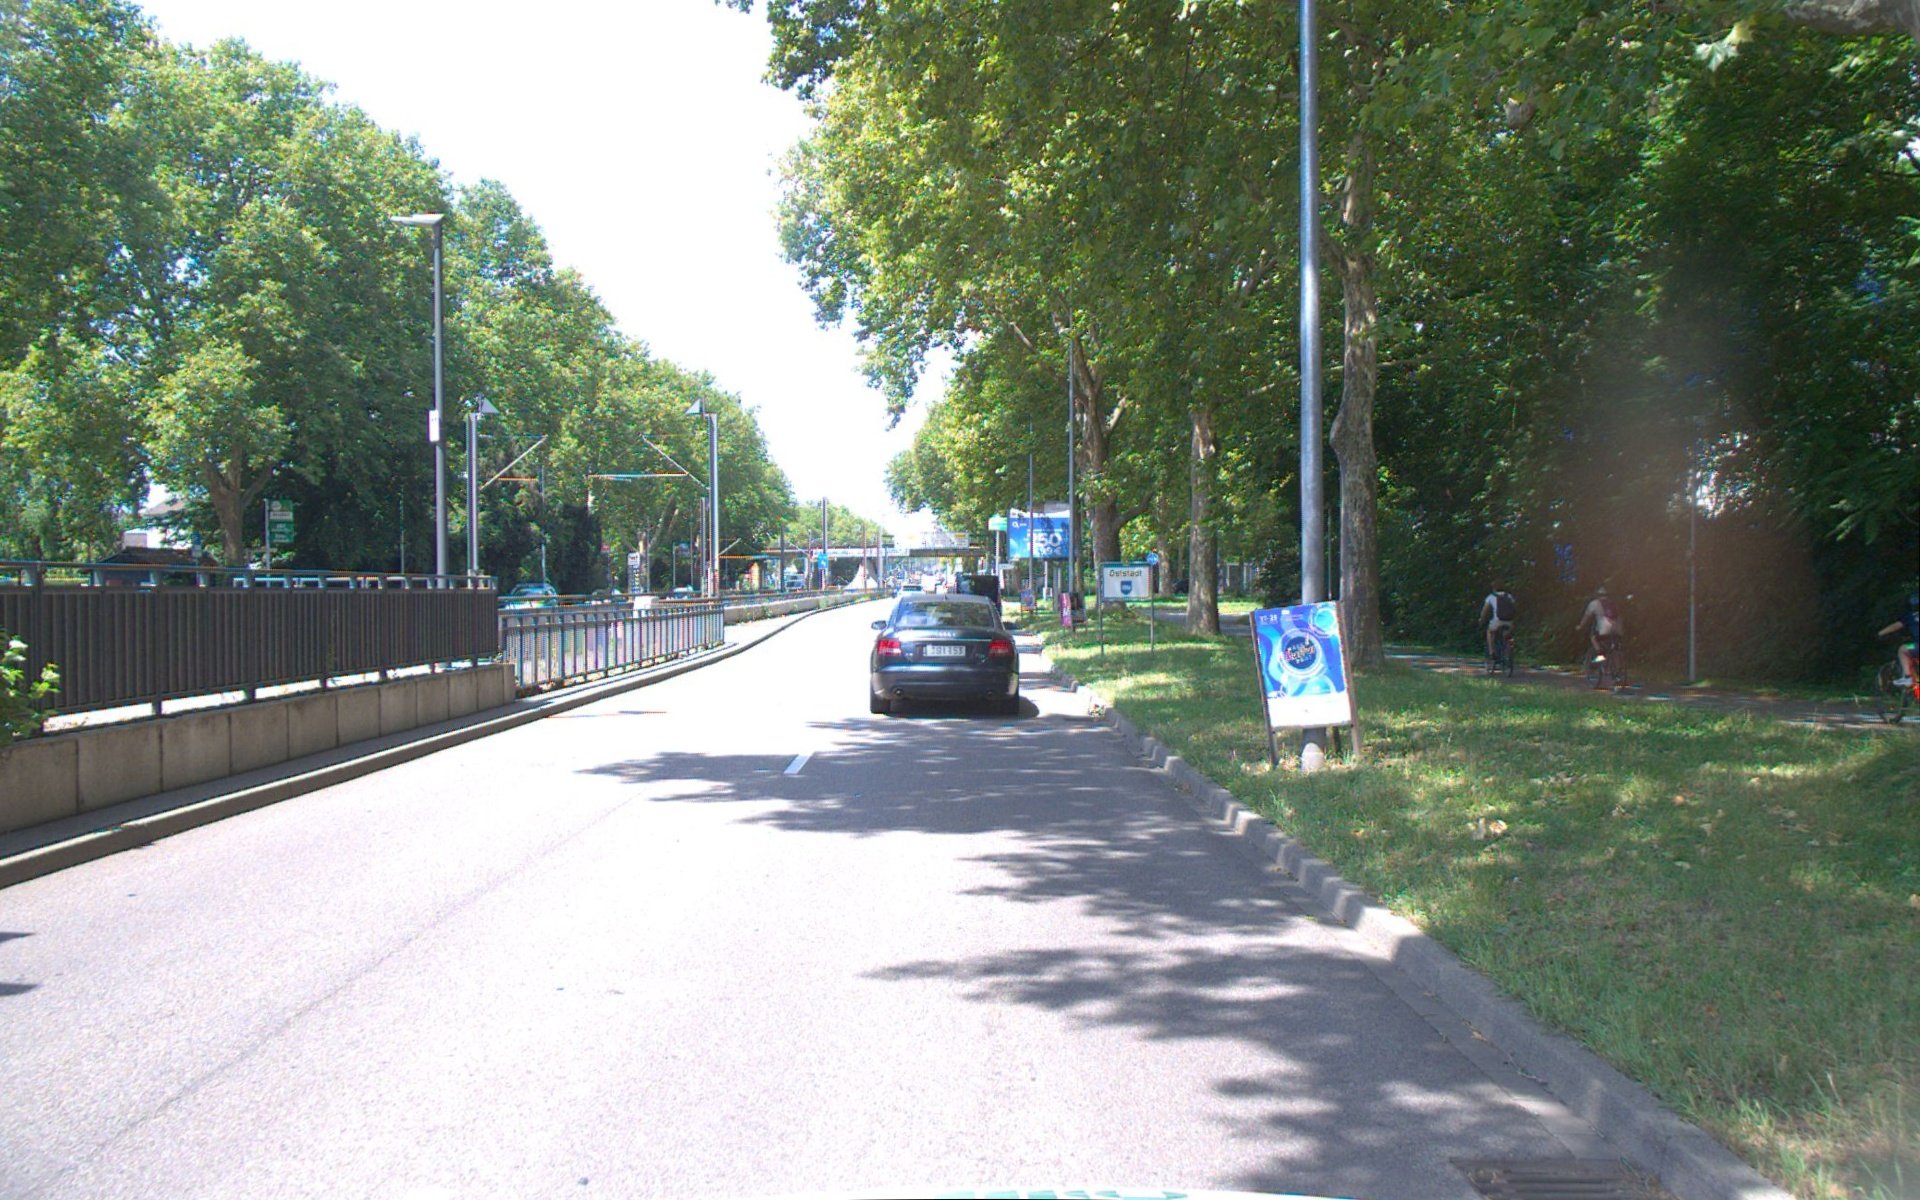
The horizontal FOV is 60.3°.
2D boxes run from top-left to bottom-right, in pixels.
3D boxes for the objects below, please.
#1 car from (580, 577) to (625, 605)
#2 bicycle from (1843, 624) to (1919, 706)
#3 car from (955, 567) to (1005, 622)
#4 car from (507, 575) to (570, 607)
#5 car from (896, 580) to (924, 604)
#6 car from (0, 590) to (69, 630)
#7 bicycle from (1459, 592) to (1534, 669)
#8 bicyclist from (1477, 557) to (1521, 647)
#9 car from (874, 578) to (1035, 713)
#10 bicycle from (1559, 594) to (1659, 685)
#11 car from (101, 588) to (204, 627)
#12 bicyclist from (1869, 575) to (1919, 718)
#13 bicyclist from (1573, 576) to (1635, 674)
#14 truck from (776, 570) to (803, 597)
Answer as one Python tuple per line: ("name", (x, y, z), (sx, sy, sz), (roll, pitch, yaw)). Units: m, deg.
("car", (-21.957, -0.562, 101.722), (1.707, 1.713, 4.385), (0, 1, 1))
("bicycle", (11.256, 0.757, 19.160), (0.634, 0.902, 2.016), (0, 1, -14))
("car", (0.792, -0.209, 62.940), (1.810, 1.993, 4.145), (1, 0, 1))
("car", (-17.736, -0.379, 69.725), (1.611, 1.287, 3.838), (0, 0, 1))
("car", (-3.228, -0.540, 106.138), (1.808, 1.489, 3.998), (0, 0, -2))
("car", (-35.863, 0.373, 62.753), (3.258, 1.501, 1.650), (0, 0, -12))
("bicycle", (10.716, 0.575, 33.137), (0.598, 1.444, 2.661), (0, 1, -1))
("bicyclist", (10.746, 0.034, 32.977), (0.585, 1.776, 0.843), (0, 1, -1))
("car", (-0.140, 0.490, 20.683), (1.805, 1.510, 3.998), (0, 1, -2))
("bicycle", (10.938, 0.629, 27.972), (0.598, 1.444, 2.661), (0, 1, -1))
("car", (-31.200, 0.278, 64.009), (3.258, 1.501, 1.650), (0, 0, -12))
("bicyclist", (11.230, 0.532, 19.383), (0.612, 1.638, 0.814), (0, 1, -14))
("bicyclist", (10.885, 0.410, 27.985), (0.645, 1.627, 1.053), (0, 0, 0))
("truck", (-20.114, -1.967, 195.706), (2.931, 3.073, 7.993), (0, 0, -4))
